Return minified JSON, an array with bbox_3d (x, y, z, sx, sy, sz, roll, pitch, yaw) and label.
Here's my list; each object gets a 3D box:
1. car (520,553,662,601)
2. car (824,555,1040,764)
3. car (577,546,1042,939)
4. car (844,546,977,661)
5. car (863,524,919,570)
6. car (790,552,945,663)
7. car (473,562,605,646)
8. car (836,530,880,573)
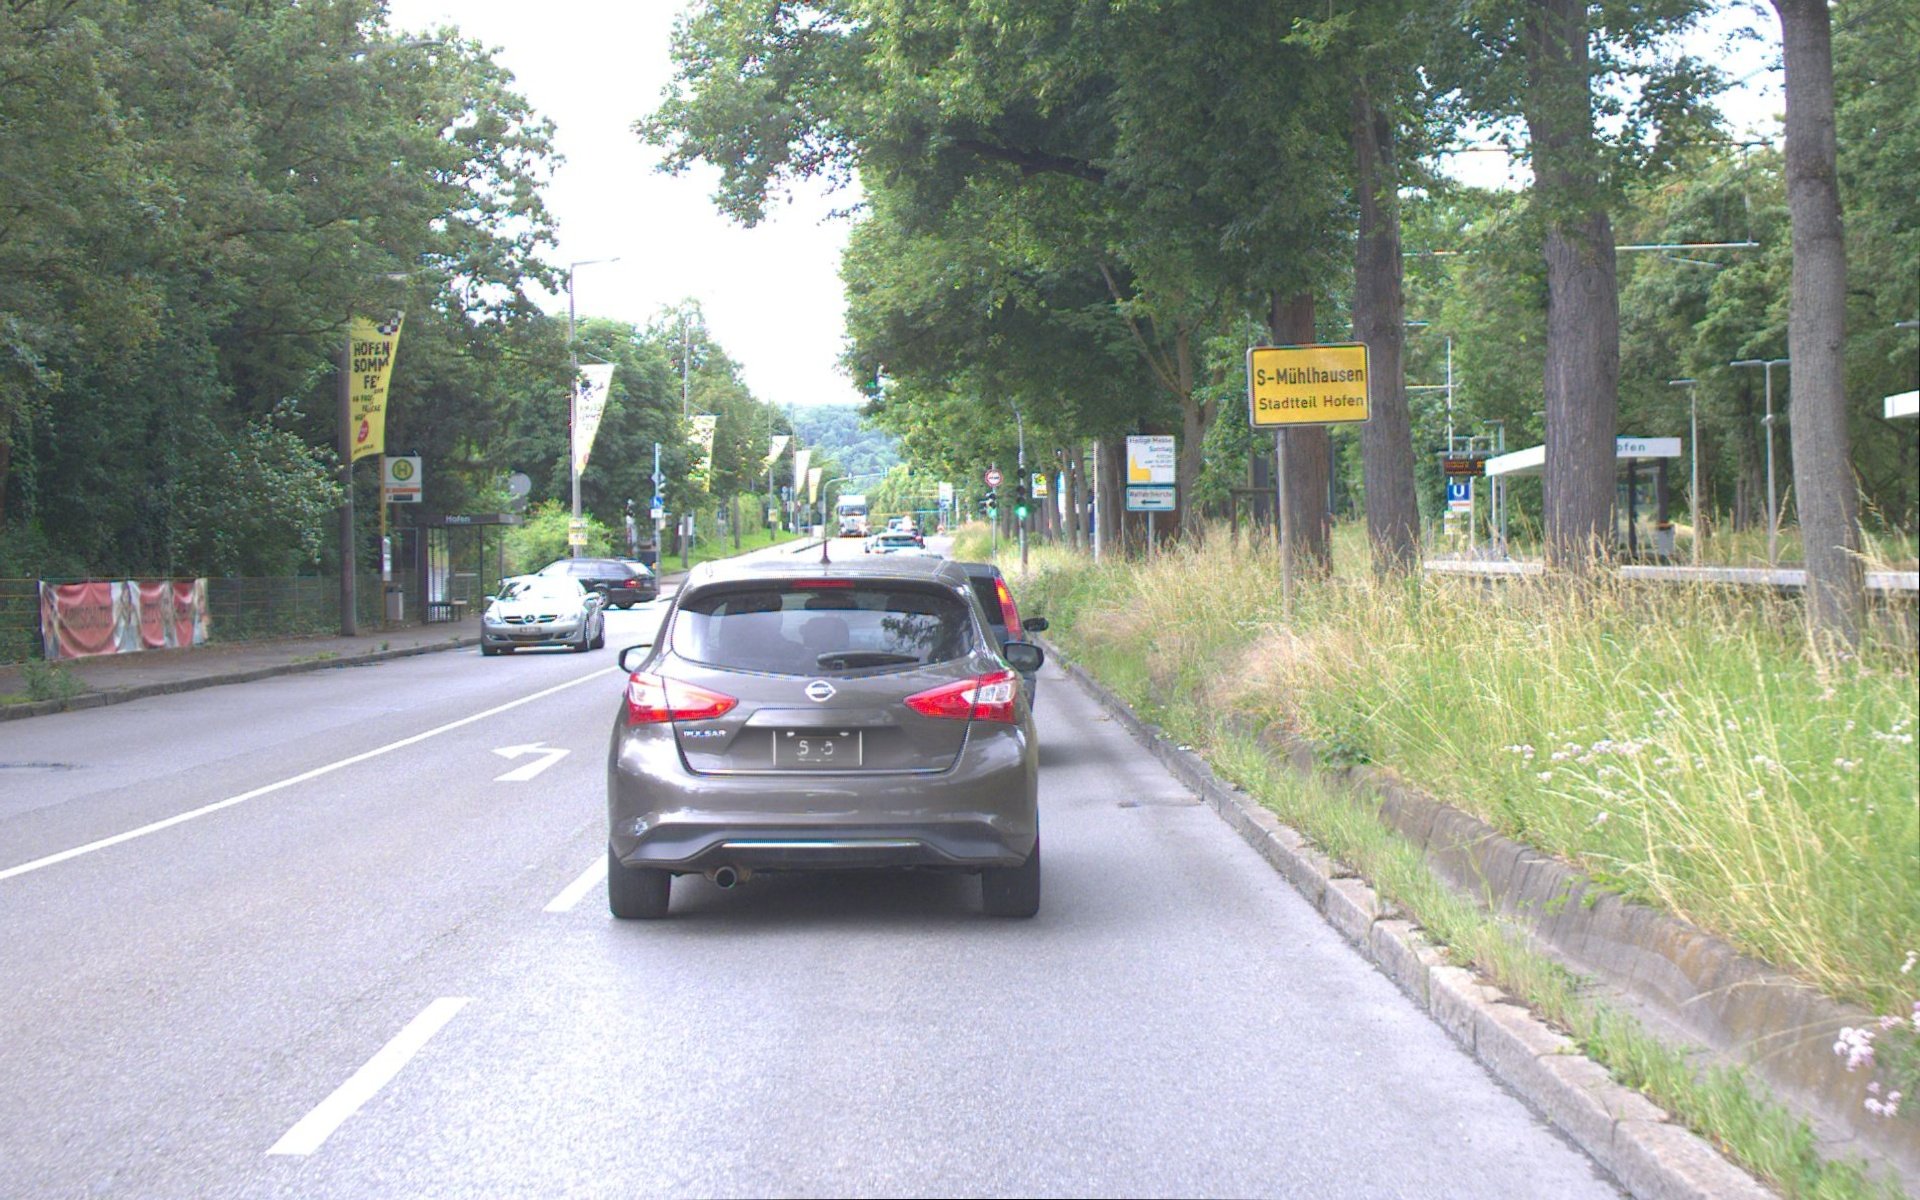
[{"bbox_3d":[-10.657,-0.661,99.328,3.687,1.332,1.762,0,1,21],"label":"car"},{"bbox_3d":[-0.220,0.391,25.821,1.502,1.436,3.542,0,1,-1],"label":"car"},{"bbox_3d":[-0.587,0.529,15.156,1.783,1.501,3.696,-1,1,0],"label":"car"},{"bbox_3d":[-0.653,0.018,45.503,1.691,1.436,3.542,0,1,-1],"label":"car"},{"bbox_3d":[-2.487,-1.912,125.042,1.993,1.568,4.000,1,0,-1],"label":"car"},{"bbox_3d":[-1.223,0.084,46.801,1.993,1.408,4.000,1,0,-1],"label":"car"},{"bbox_3d":[-7.033,0.047,57.696,1.758,1.332,3.696,-1,1,0],"label":"car"},{"bbox_3d":[-4.968,-2.343,166.548,1.993,2.007,4.000,1,0,-3],"label":"car"}]
